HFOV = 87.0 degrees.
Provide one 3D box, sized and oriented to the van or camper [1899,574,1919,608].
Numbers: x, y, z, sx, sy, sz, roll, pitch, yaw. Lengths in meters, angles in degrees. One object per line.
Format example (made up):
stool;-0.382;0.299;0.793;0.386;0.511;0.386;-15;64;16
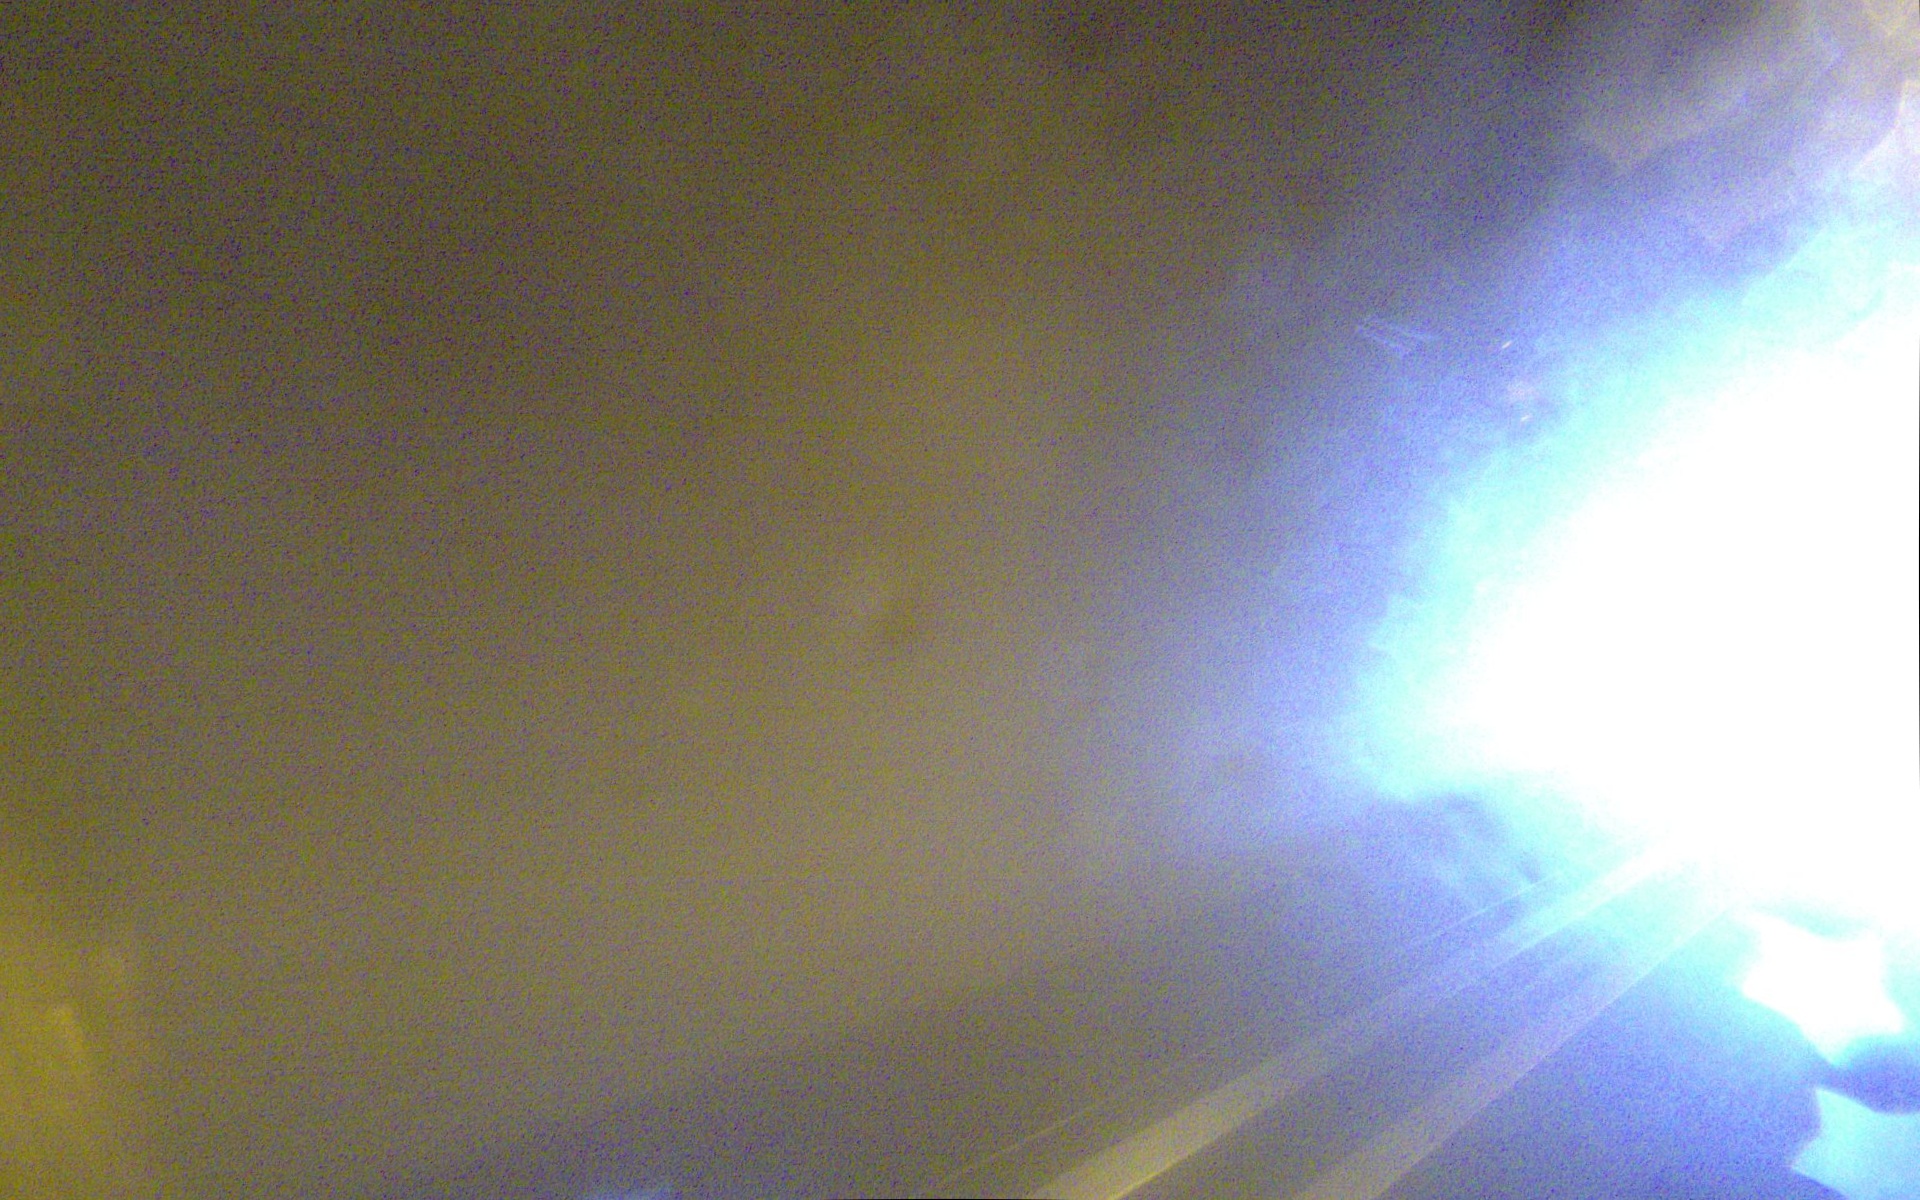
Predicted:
van or camper;85.554;-0.780;89.897;2.408;2.919;6.590;2;1;37
